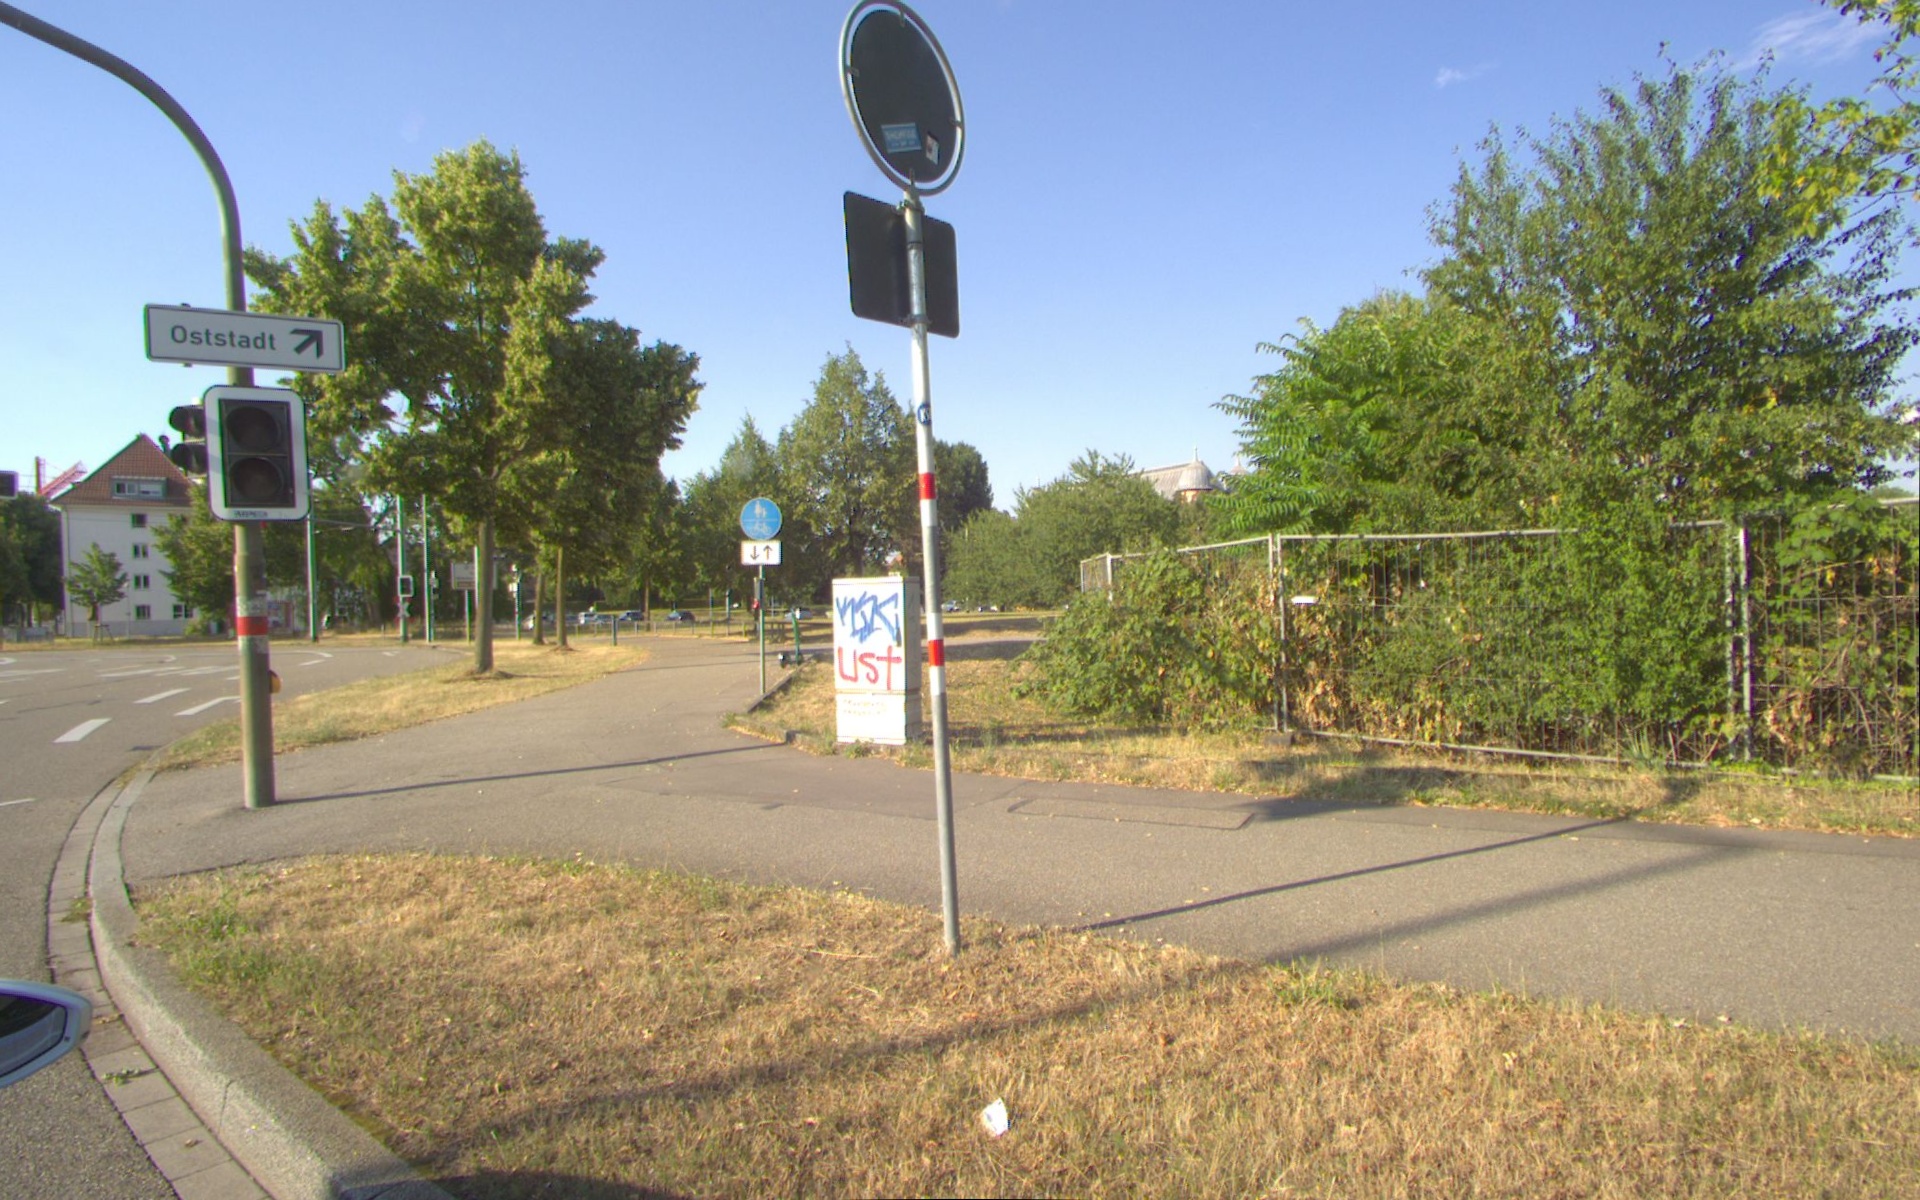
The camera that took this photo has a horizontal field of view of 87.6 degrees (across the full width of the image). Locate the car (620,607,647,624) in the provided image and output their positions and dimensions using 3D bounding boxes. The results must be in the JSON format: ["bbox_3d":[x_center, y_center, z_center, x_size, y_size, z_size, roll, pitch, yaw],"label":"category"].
[{"bbox_3d":[-29.504,1.424,90.408,1.583,1.420,3.950,-1,0,-29],"label":"car"}]

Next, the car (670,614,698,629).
[{"bbox_3d":[-25.598,2.004,92.794,1.583,1.327,3.950,-1,-1,-29],"label":"car"}]

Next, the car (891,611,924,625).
[{"bbox_3d":[-5.642,1.898,106.849,1.803,1.421,3.976,-1,-1,-33],"label":"car"}]

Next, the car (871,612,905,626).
[{"bbox_3d":[-7.592,2.033,105.457,1.803,1.421,3.976,-1,-1,-33],"label":"car"}]

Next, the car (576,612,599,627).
[{"bbox_3d":[-37.053,1.963,99.655,1.583,1.420,3.950,-1,0,-29],"label":"car"}]

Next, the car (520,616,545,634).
[{"bbox_3d":[-36.912,2.154,86.340,1.583,1.420,3.950,-1,0,-29],"label":"car"}]

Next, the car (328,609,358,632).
[{"bbox_3d":[-48.045,1.600,77.993,1.751,1.639,3.950,-1,0,-29],"label":"car"}]

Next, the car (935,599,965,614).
[{"bbox_3d":[-1.268,0.790,123.285,1.803,1.694,3.976,-1,0,-33],"label":"car"}]

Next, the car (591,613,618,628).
[{"bbox_3d":[-32.037,1.848,90.196,1.583,1.237,3.950,-1,-1,-29],"label":"car"}]

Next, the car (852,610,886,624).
[{"bbox_3d":[-9.470,1.768,104.235,1.803,1.421,3.976,-2,0,-33],"label":"car"}]

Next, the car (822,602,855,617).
[{"bbox_3d":[-12.555,0.959,103.003,1.803,1.421,3.976,-1,-1,-33],"label":"car"}]

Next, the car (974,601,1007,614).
[{"bbox_3d":[3.432,0.858,112.981,1.803,1.421,3.976,-1,-1,-33],"label":"car"}]

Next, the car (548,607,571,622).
[{"bbox_3d":[-39.161,1.399,97.895,1.583,1.420,3.950,-1,0,-29],"label":"car"}]

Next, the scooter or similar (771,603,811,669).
[{"bbox_3d":[-3.256,0.679,19.378,0.336,1.175,1.169,-4,2,8],"label":"scooter or similar"}]

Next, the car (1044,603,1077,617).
[{"bbox_3d":[11.876,1.171,118.676,1.803,1.589,3.976,-1,0,-33],"label":"car"}]

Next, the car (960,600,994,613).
[{"bbox_3d":[1.864,0.747,111.613,1.803,1.421,3.976,-1,-1,-33],"label":"car"}]

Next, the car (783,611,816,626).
[{"bbox_3d":[-16.025,1.893,100.008,1.803,1.421,3.976,-1,-1,-33],"label":"car"}]
